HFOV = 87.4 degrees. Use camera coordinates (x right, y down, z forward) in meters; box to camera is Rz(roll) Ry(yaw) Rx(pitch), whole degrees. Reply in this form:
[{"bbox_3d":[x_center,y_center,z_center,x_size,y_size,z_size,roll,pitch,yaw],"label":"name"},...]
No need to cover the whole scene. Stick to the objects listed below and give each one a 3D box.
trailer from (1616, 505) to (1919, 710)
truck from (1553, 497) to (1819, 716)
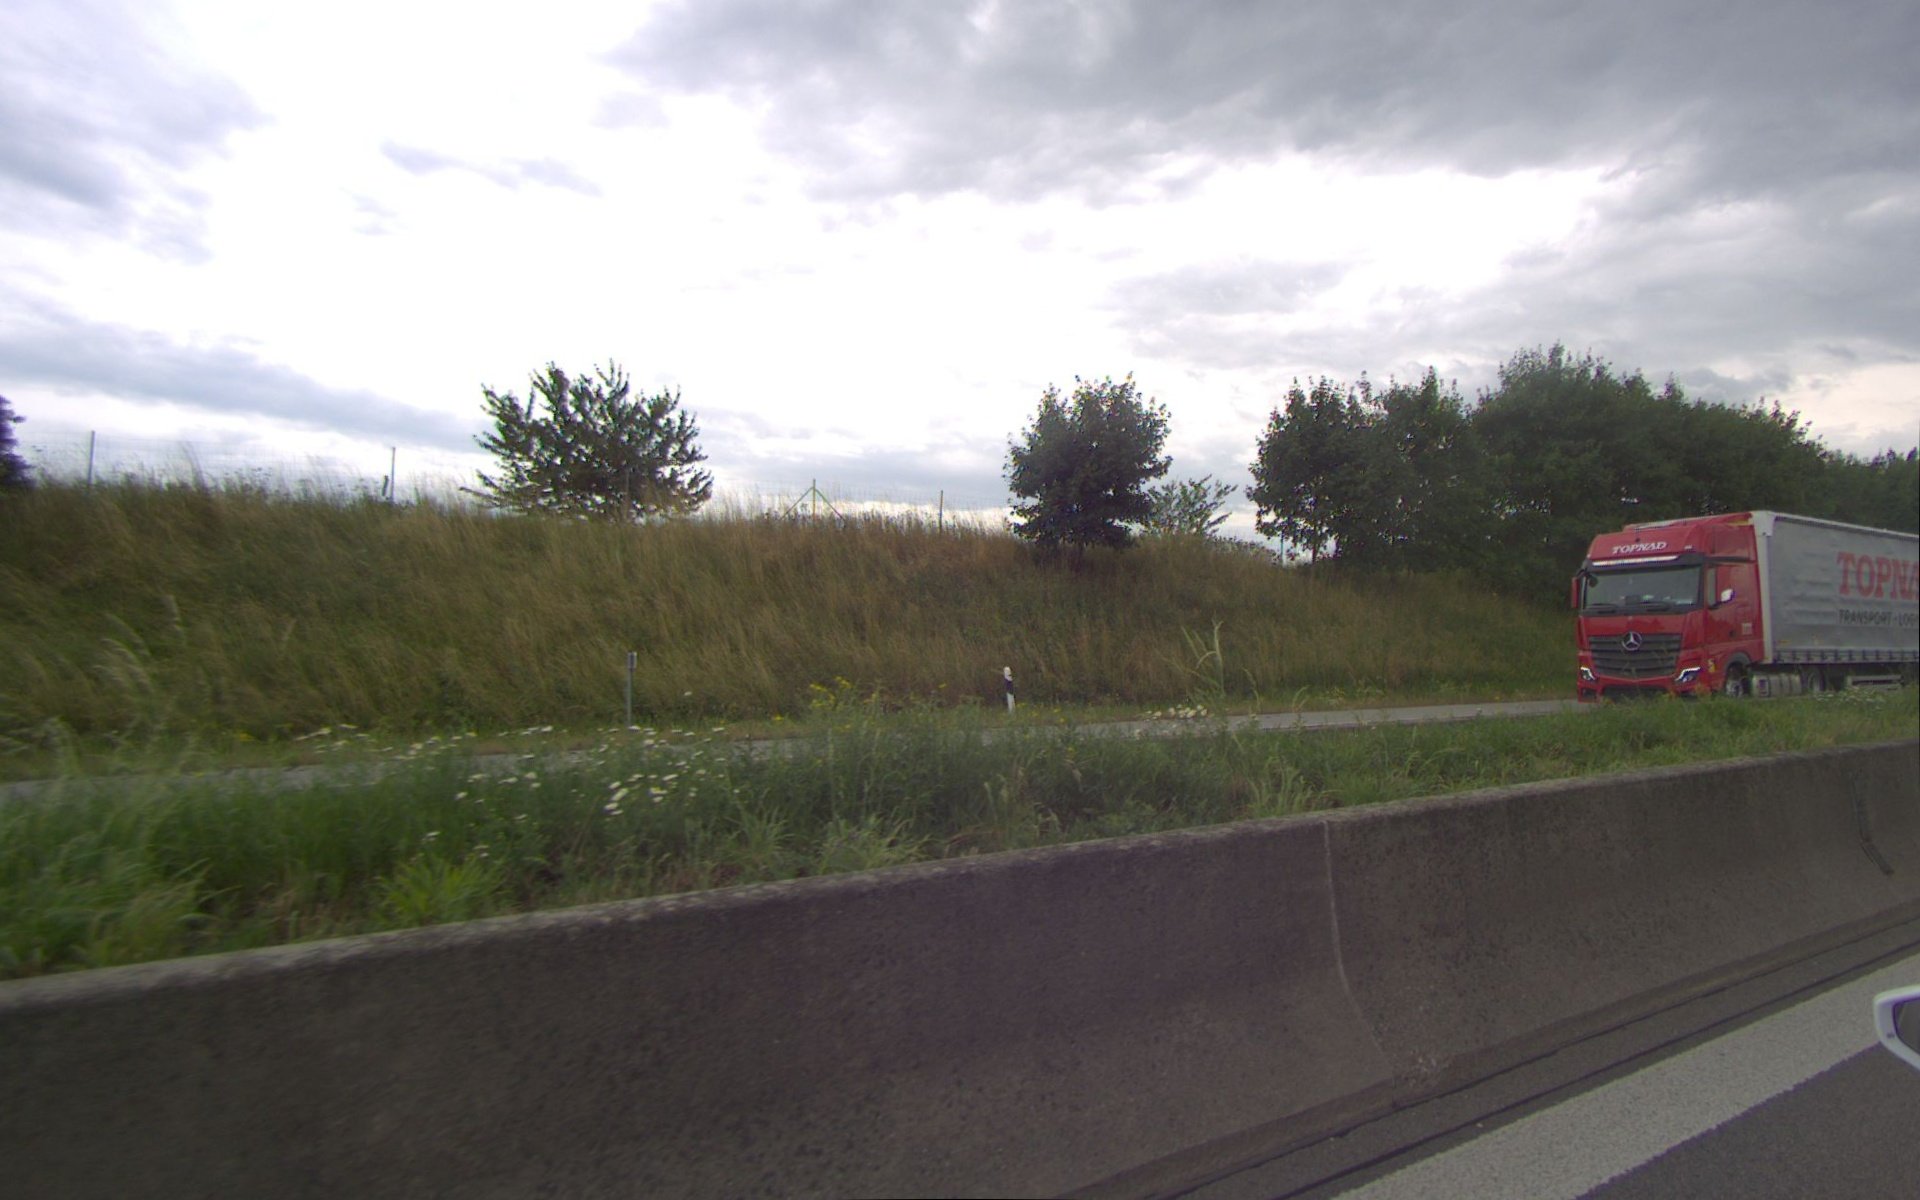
[{"bbox_3d":[21.721,0.291,25.165,14.427,4.142,2.694,1,-3,-31],"label":"trailer"},{"bbox_3d":[15.499,0.205,21.419,5.104,4.142,2.694,1,-3,-31],"label":"truck"}]
